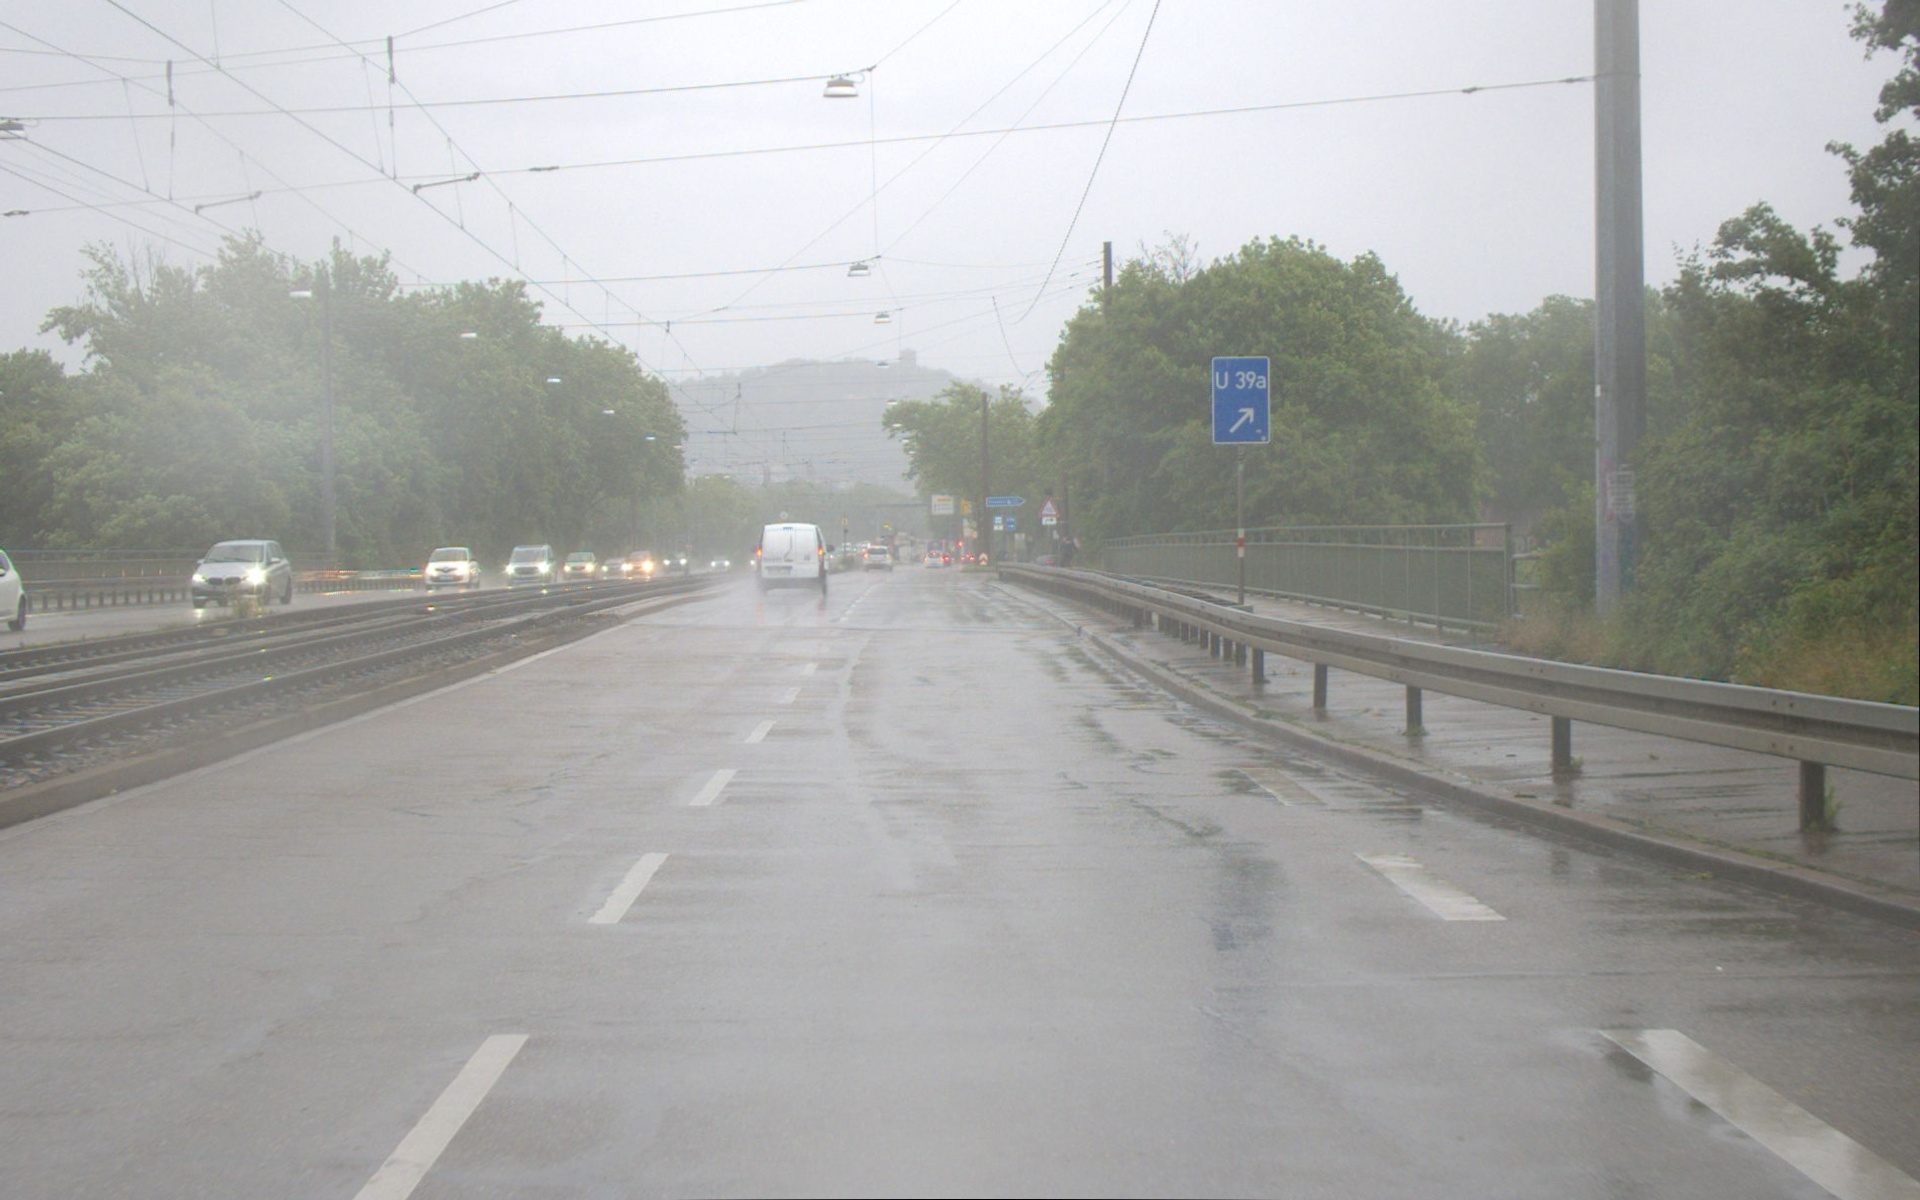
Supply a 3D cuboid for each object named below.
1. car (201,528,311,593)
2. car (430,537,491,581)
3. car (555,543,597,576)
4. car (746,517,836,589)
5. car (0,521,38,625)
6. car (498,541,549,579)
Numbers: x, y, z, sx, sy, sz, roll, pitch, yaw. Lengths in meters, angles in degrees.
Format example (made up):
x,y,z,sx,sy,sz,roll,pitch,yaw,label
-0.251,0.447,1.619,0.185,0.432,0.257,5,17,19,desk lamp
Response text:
x,y,z,sx,sy,sz,roll,pitch,yaw,label
-17.046,-0.981,83.434,1.797,1.448,4.195,2,2,0,car
-18.284,-1.510,125.967,1.743,1.503,3.700,2,2,-1,car
-19.245,-2.036,172.567,1.743,1.503,3.700,2,2,-1,car
-4.186,-1.181,85.635,1.989,1.678,3.740,2,2,1,car
-16.945,-0.466,57.977,1.754,1.705,4.001,2,2,-1,car
-18.644,-1.708,146.926,1.743,1.503,3.700,2,2,-1,car
